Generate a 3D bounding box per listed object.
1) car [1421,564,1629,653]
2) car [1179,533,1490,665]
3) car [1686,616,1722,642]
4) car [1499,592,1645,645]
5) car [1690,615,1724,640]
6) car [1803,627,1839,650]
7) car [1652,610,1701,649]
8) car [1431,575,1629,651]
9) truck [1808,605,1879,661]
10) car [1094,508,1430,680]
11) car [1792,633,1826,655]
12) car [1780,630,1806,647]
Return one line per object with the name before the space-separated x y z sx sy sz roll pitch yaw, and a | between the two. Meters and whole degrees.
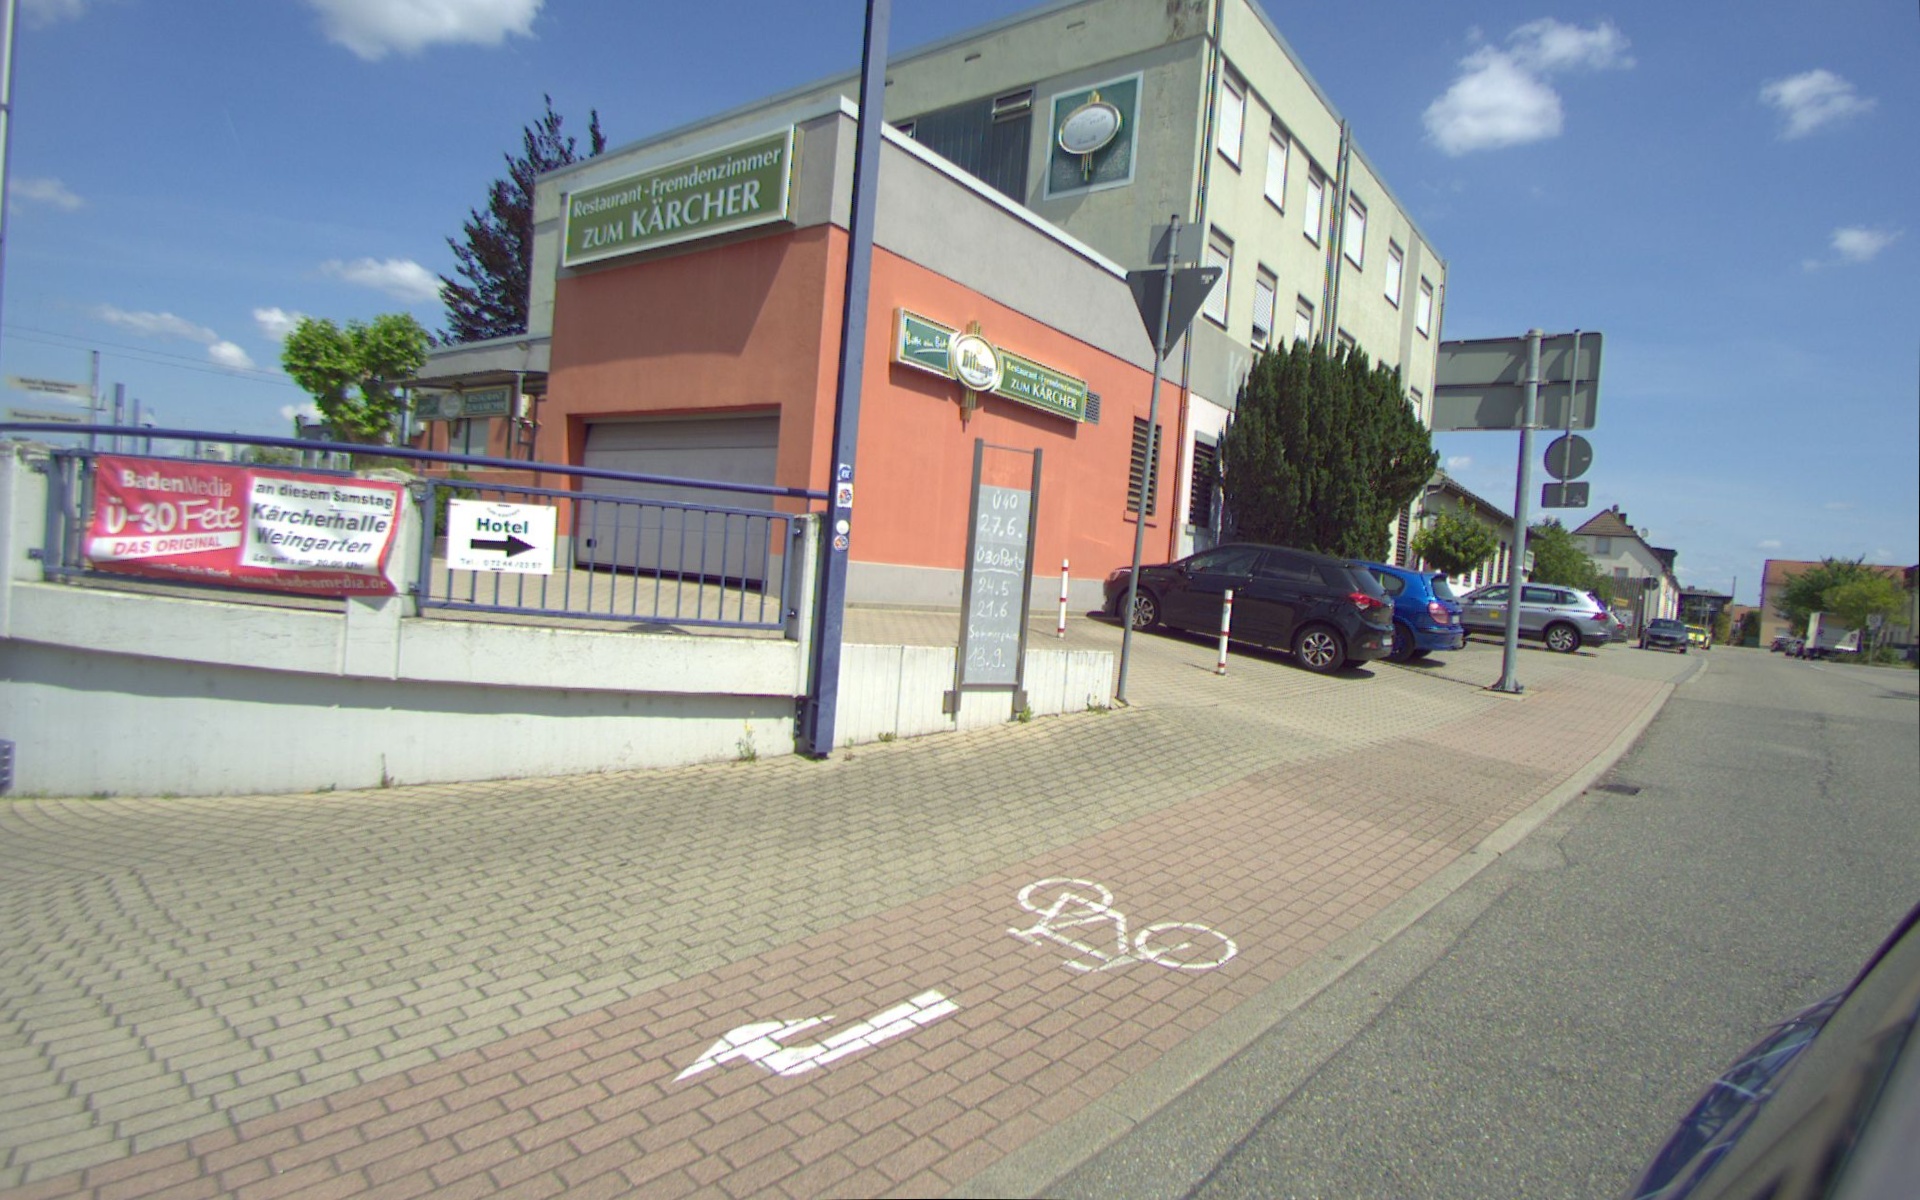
car | 14.699 0.183 26.436 4.445 1.717 1.897 8 3 36
car | 5.993 -0.120 16.482 4.318 1.455 1.756 10 7 37
car | 50.504 1.991 68.684 1.715 1.414 4.157 11 5 37
car | 23.550 0.689 39.028 4.522 1.471 1.891 8 3 38
car | 53.387 1.966 72.344 1.715 1.517 4.157 11 5 37
car | 67.228 2.976 79.074 1.714 1.517 4.159 9 4 36
car | 32.335 1.329 45.647 1.624 1.507 4.085 7 2 36
car | 15.905 0.330 28.336 4.495 1.537 1.973 8 3 37
truck | 59.320 2.178 68.114 2.433 3.283 6.946 10 4 35
car | 4.070 -0.171 13.896 3.893 1.506 1.786 14 8 36
car | 70.606 3.641 84.197 1.714 1.517 4.159 9 4 36
car | 88.970 4.068 108.150 1.714 1.517 4.159 9 4 36
